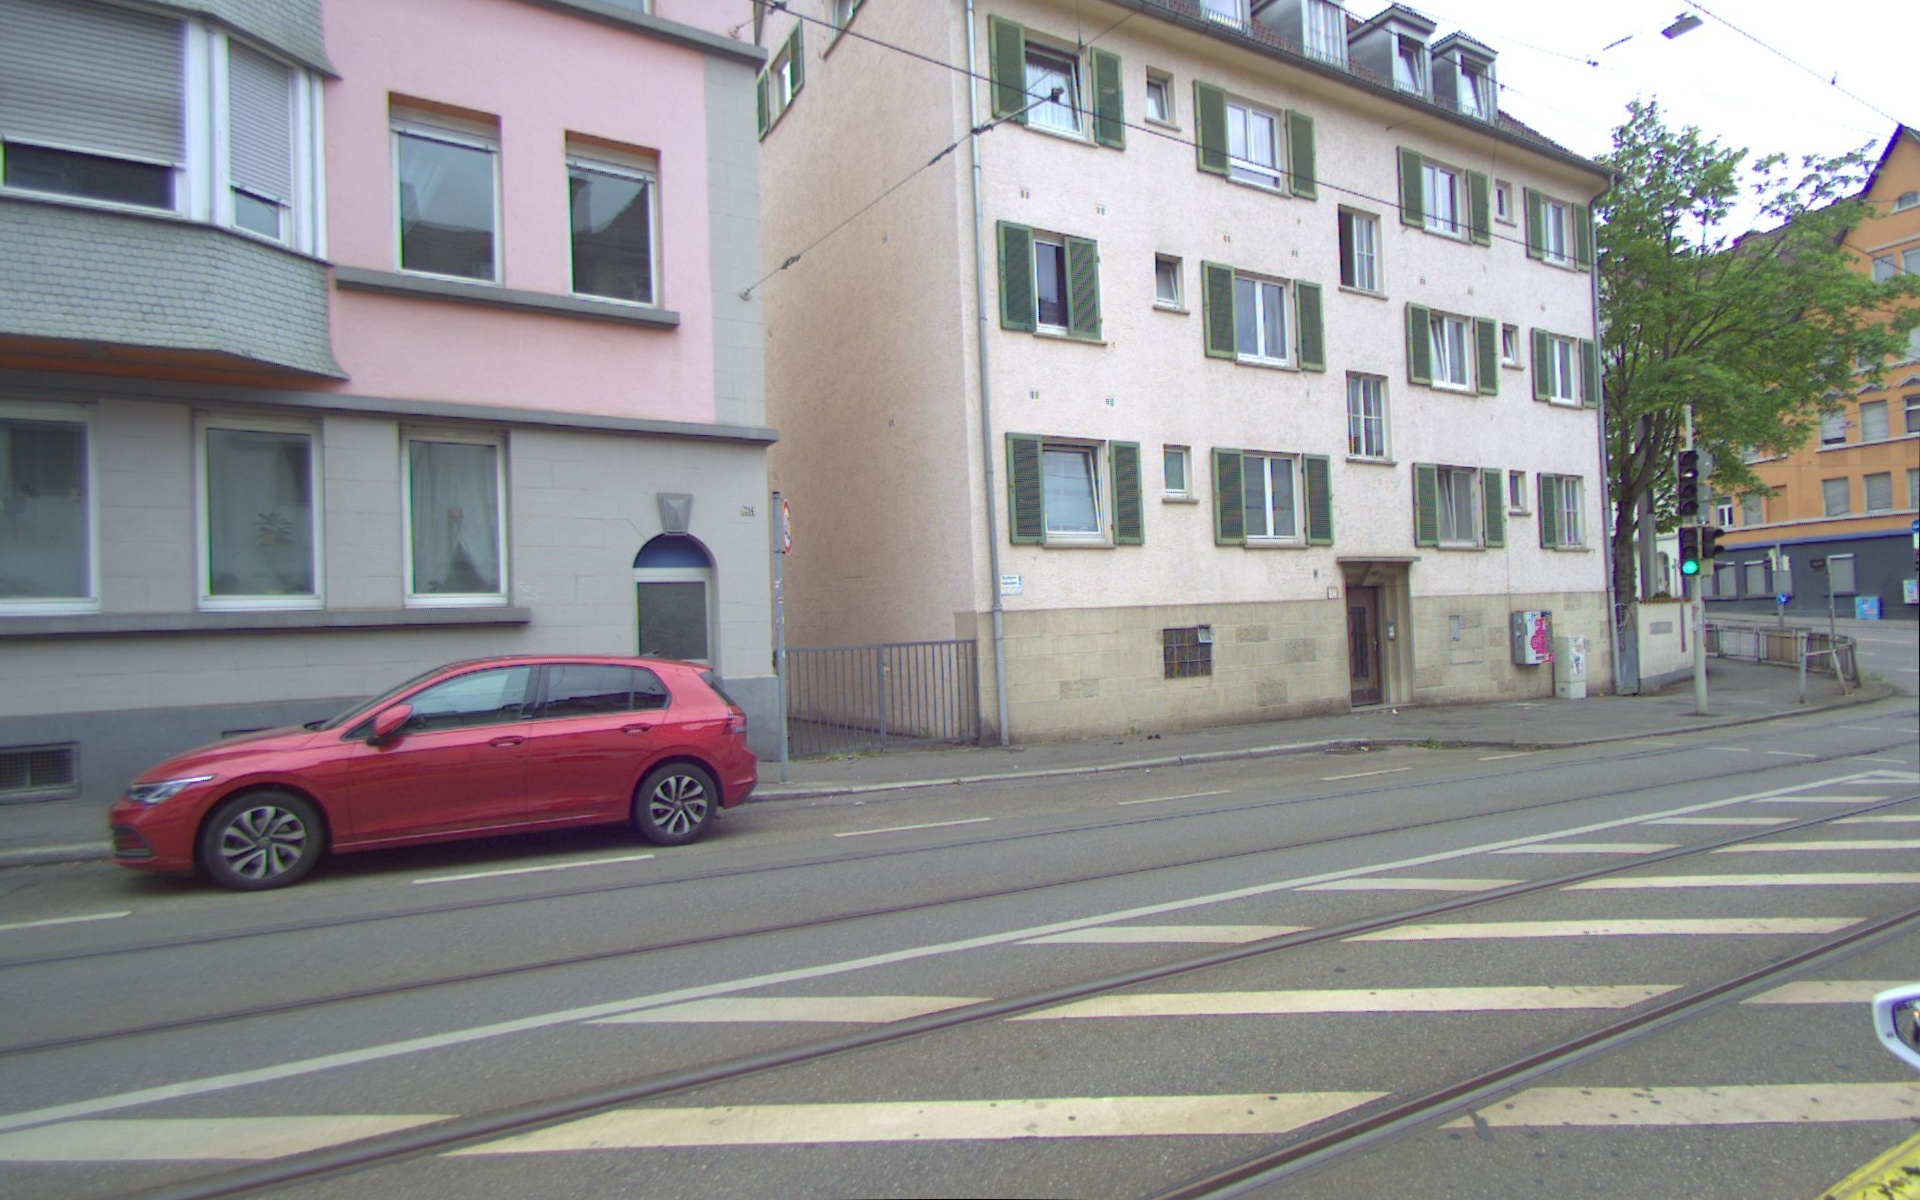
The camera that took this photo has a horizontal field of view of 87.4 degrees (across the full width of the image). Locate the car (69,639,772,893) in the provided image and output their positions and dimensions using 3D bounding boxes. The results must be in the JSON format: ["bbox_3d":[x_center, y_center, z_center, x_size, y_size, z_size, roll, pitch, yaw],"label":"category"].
[{"bbox_3d":[-3.738,1.054,7.639,4.211,1.457,1.777,1,-4,-30],"label":"car"}]
